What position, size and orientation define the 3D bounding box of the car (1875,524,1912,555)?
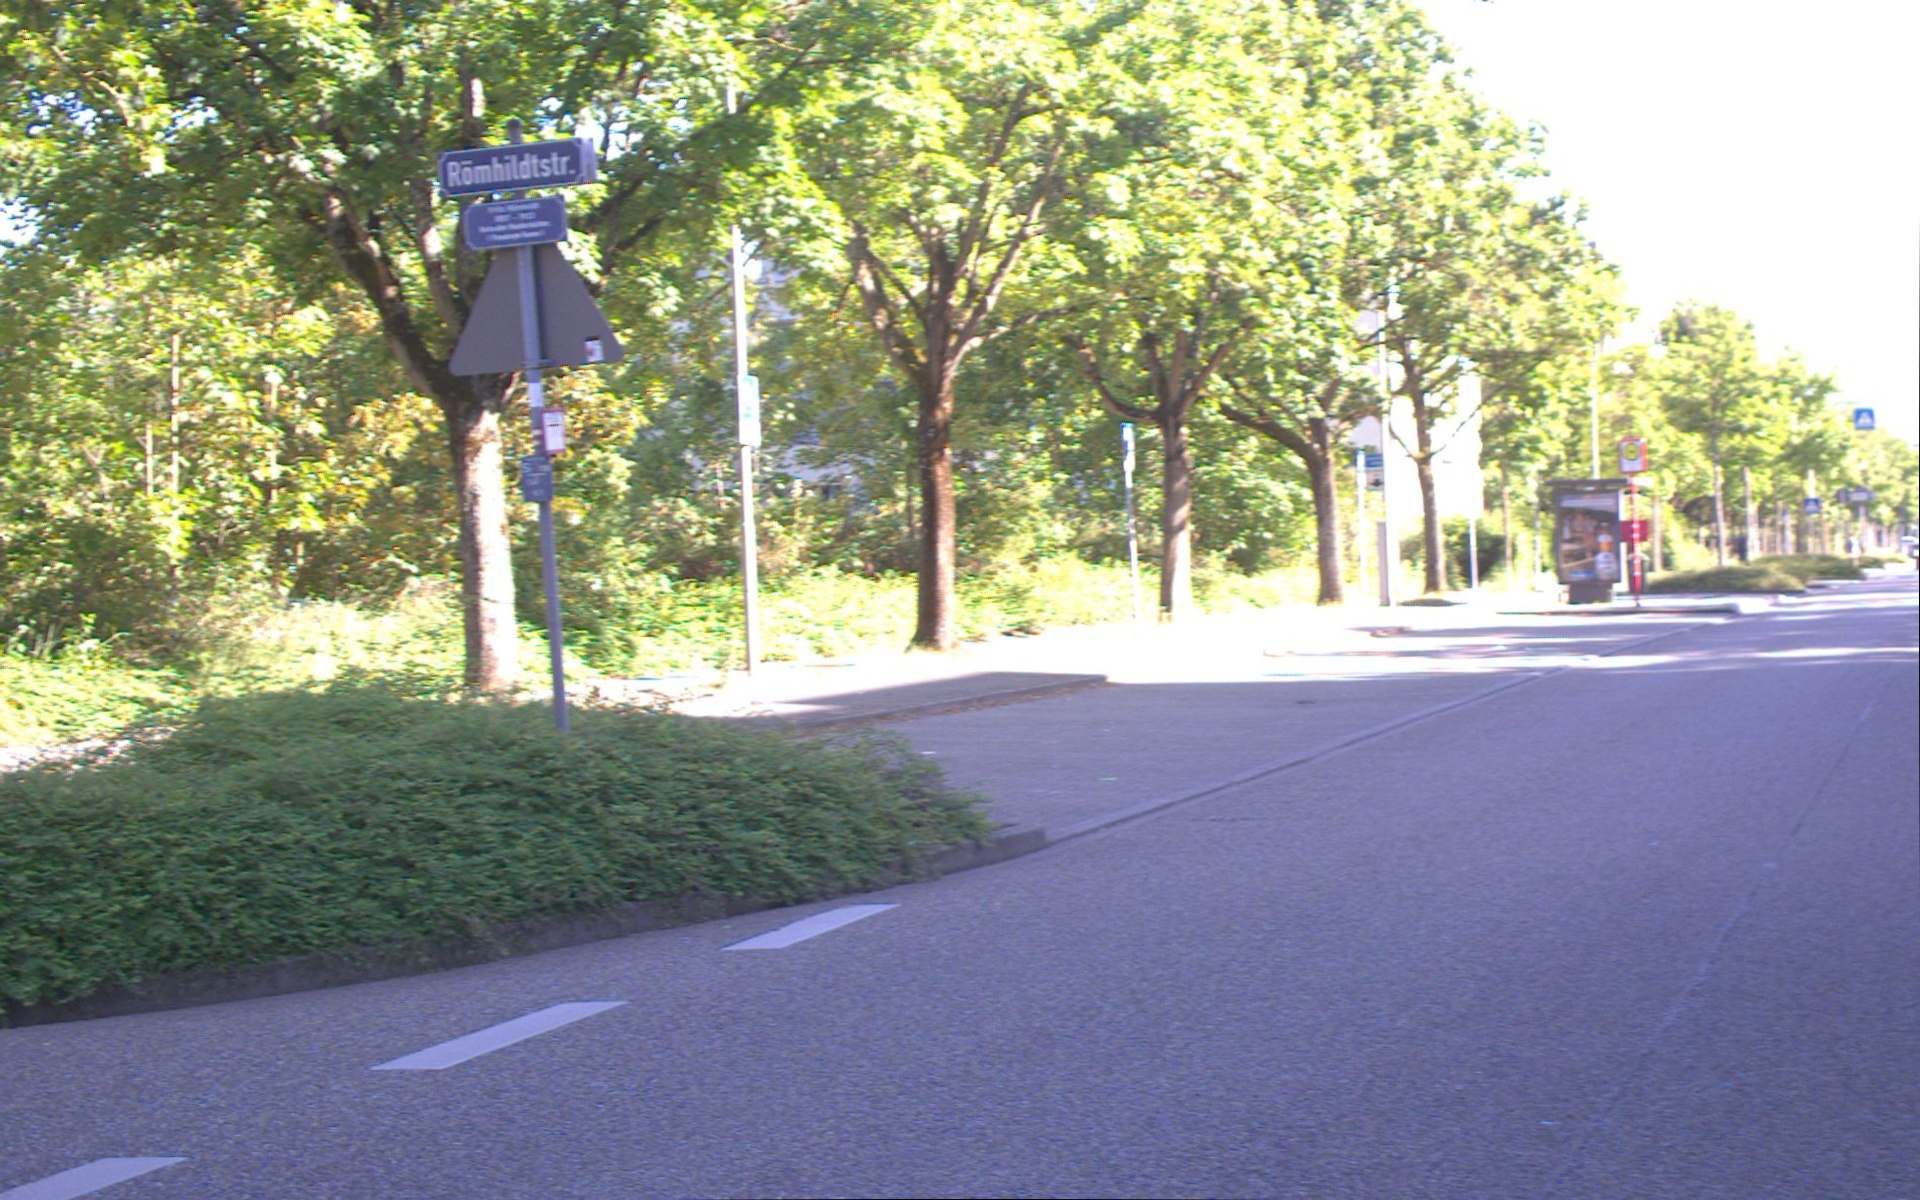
[{"bbox_3d":[55.774,-3.593,205.317,1.995,1.795,3.997,-1,1,17],"label":"car"}]
